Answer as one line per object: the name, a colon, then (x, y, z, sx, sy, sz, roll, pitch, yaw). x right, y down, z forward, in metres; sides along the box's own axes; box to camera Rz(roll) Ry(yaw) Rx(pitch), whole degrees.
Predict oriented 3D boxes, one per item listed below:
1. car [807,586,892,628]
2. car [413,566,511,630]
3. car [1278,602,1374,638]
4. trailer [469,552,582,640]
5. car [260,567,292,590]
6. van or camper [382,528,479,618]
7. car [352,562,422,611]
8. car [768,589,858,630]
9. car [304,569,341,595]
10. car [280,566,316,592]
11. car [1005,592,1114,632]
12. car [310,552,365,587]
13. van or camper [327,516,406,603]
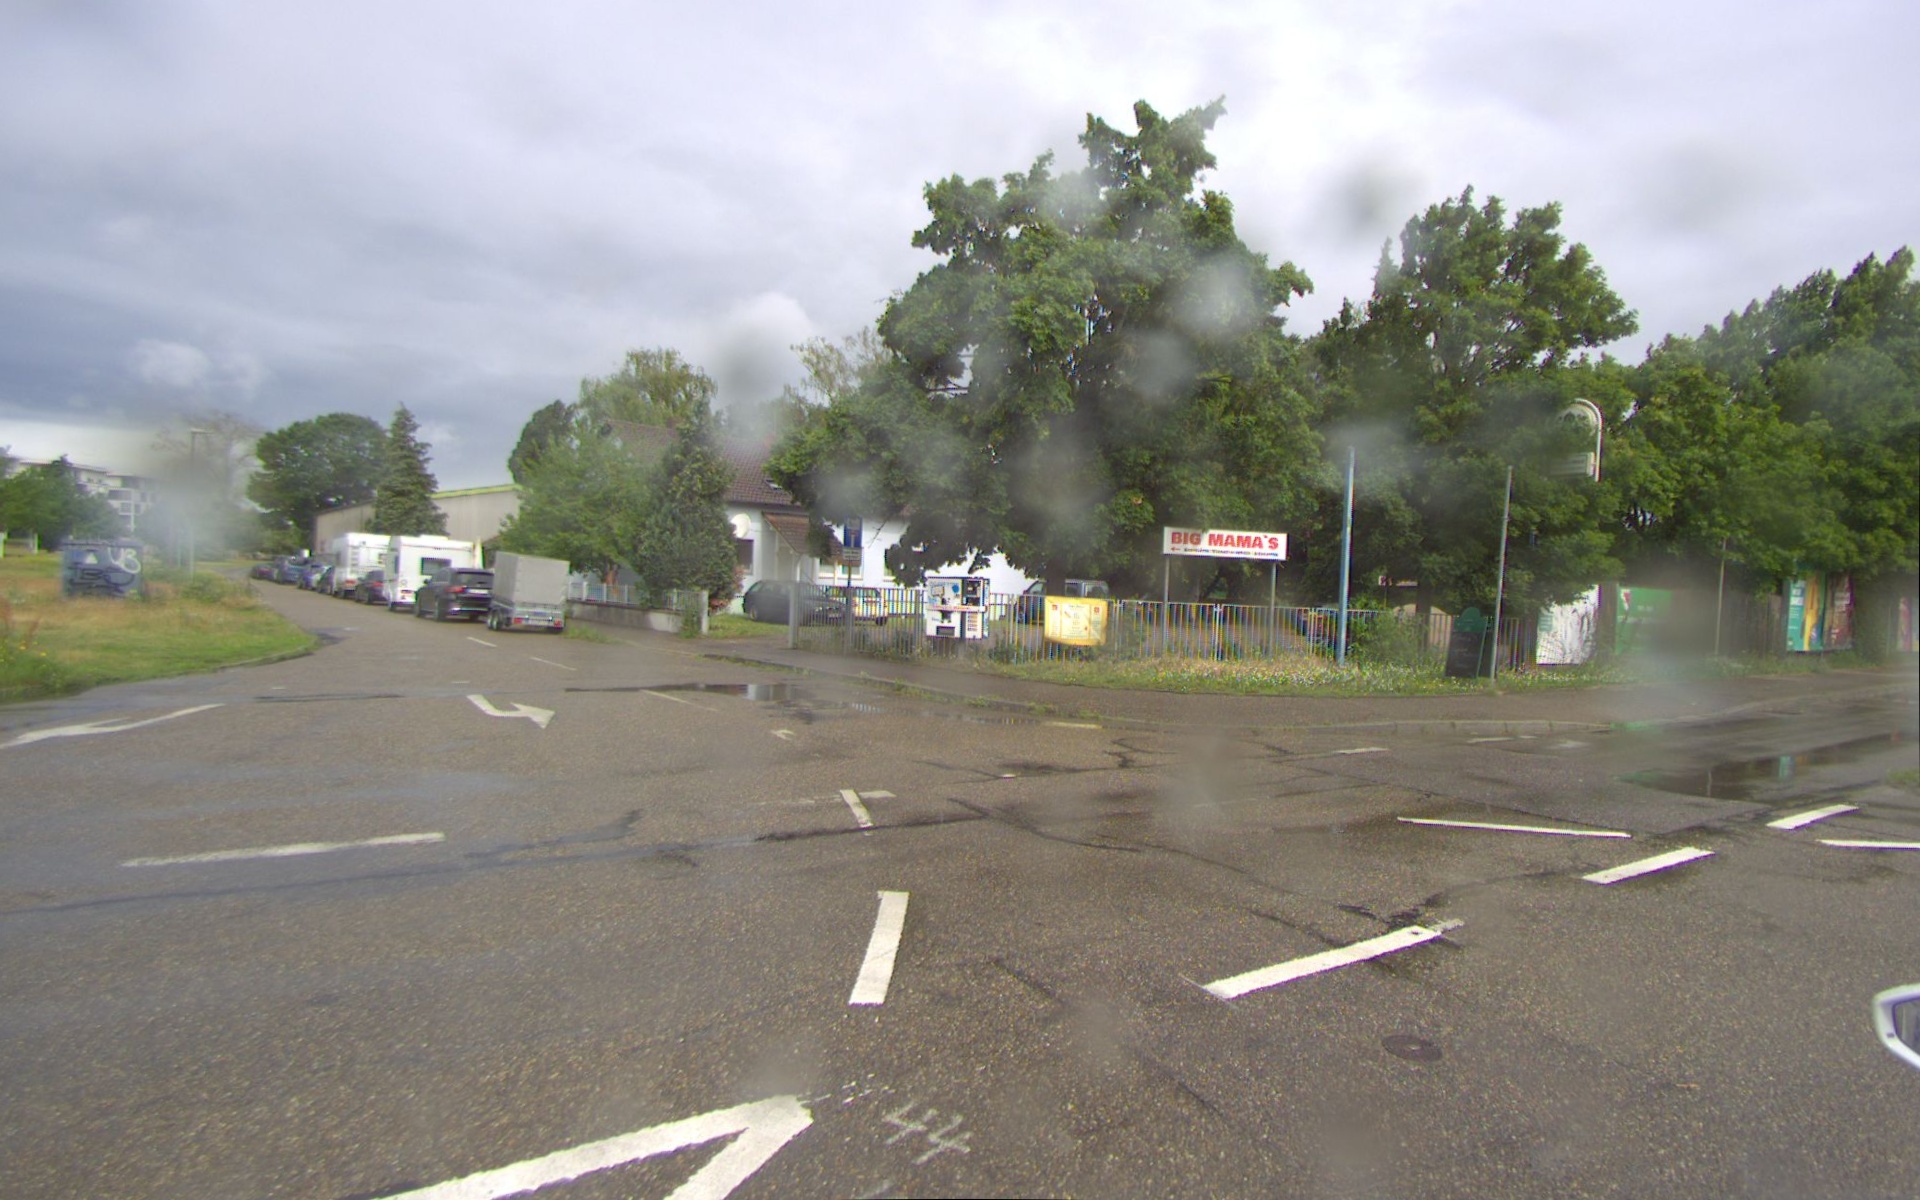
car: (-4.074, 0.227, 36.572, 1.375, 1.333, 3.884, 2, 1, -35)
car: (-15.483, -0.104, 31.105, 1.981, 1.799, 4.473, 2, 1, -36)
car: (16.201, 0.908, 44.364, 4.508, 1.437, 1.977, 2, 0, -40)
trailer: (-12.050, -0.155, 27.725, 1.829, 2.117, 4.067, 2, 2, -38)
car: (-56.285, -1.778, 82.677, 1.981, 1.751, 3.958, 2, 1, -37)
van or camper: (-19.297, -0.985, 36.491, 2.460, 2.985, 4.469, 2, 1, -36)
car: (-23.175, -0.569, 40.541, 1.981, 1.799, 4.473, 2, 1, -36)
car: (-5.059, 0.304, 34.308, 1.649, 1.224, 3.350, 2, 1, -36)
car: (-38.948, -1.108, 61.356, 1.630, 1.417, 3.958, 2, 1, -36)
car: (-46.770, -1.476, 70.960, 1.637, 1.662, 3.953, 2, 1, -40)
car: (4.070, 0.480, 41.792, 1.981, 1.437, 4.498, 2, 0, -36)
car: (-32.440, -1.590, 52.296, 1.983, 1.706, 3.956, 2, 1, -38)
van or camper: (-28.177, -1.891, 47.561, 2.629, 3.794, 5.791, 2, 1, -36)
